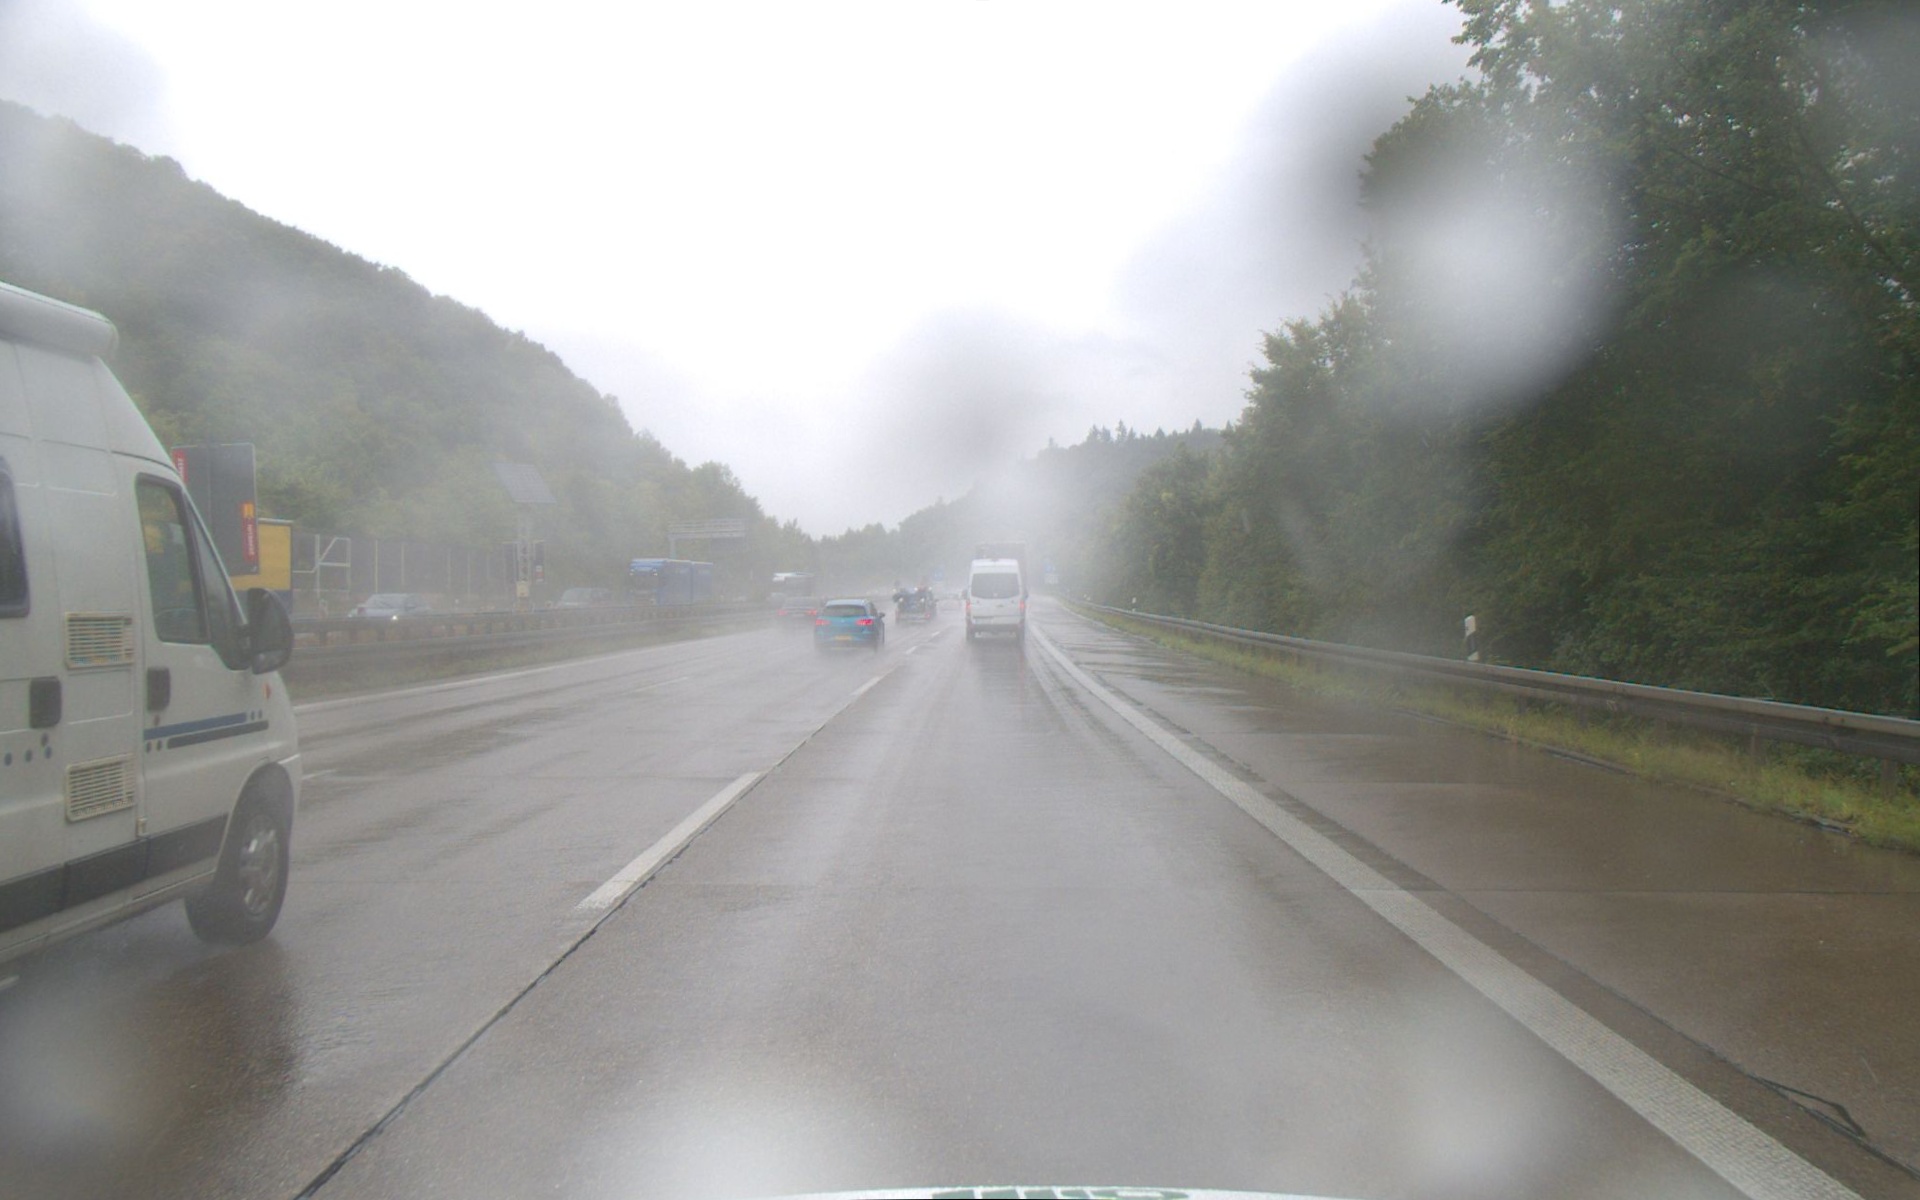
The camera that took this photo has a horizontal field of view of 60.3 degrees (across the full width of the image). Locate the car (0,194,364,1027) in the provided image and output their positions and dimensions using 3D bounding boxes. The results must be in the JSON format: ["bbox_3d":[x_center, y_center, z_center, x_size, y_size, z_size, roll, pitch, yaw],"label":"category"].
[{"bbox_3d":[-3.832,0.020,5.108,1.957,2.474,5.789,1,0,-1],"label":"car"}]

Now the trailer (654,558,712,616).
[{"bbox_3d":[-21.252,-0.966,127.461,2.789,4.227,8.526,1,0,1],"label":"trailer"}]

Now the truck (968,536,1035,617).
[{"bbox_3d":[2.195,-1.327,87.198,3.315,4.037,8.669,0,2,1],"label":"truck"}]

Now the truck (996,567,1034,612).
[{"bbox_3d":[5.154,-0.919,153.357,3.026,3.978,9.058,2,0,4],"label":"truck"}]

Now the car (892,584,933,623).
[{"bbox_3d":[-2.356,0.166,82.326,1.830,1.841,4.189,1,0,1],"label":"car"}]

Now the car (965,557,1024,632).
[{"bbox_3d":[1.132,-0.180,55.968,1.860,2.374,5.251,1,0,1],"label":"car"}]

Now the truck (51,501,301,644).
[{"bbox_3d":[-22.807,-0.757,48.887,2.531,3.765,9.801,1,0,1],"label":"truck"}]

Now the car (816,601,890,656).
[{"bbox_3d":[-2.886,0.744,45.328,1.819,1.362,4.350,1,0,-1],"label":"car"}]

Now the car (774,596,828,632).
[{"bbox_3d":[-6.322,0.532,66.113,1.818,1.362,4.350,1,0,-1],"label":"car"}]

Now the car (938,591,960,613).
[{"bbox_3d":[-0.834,0.147,126.059,1.581,1.656,4.189,1,0,1],"label":"car"}]
